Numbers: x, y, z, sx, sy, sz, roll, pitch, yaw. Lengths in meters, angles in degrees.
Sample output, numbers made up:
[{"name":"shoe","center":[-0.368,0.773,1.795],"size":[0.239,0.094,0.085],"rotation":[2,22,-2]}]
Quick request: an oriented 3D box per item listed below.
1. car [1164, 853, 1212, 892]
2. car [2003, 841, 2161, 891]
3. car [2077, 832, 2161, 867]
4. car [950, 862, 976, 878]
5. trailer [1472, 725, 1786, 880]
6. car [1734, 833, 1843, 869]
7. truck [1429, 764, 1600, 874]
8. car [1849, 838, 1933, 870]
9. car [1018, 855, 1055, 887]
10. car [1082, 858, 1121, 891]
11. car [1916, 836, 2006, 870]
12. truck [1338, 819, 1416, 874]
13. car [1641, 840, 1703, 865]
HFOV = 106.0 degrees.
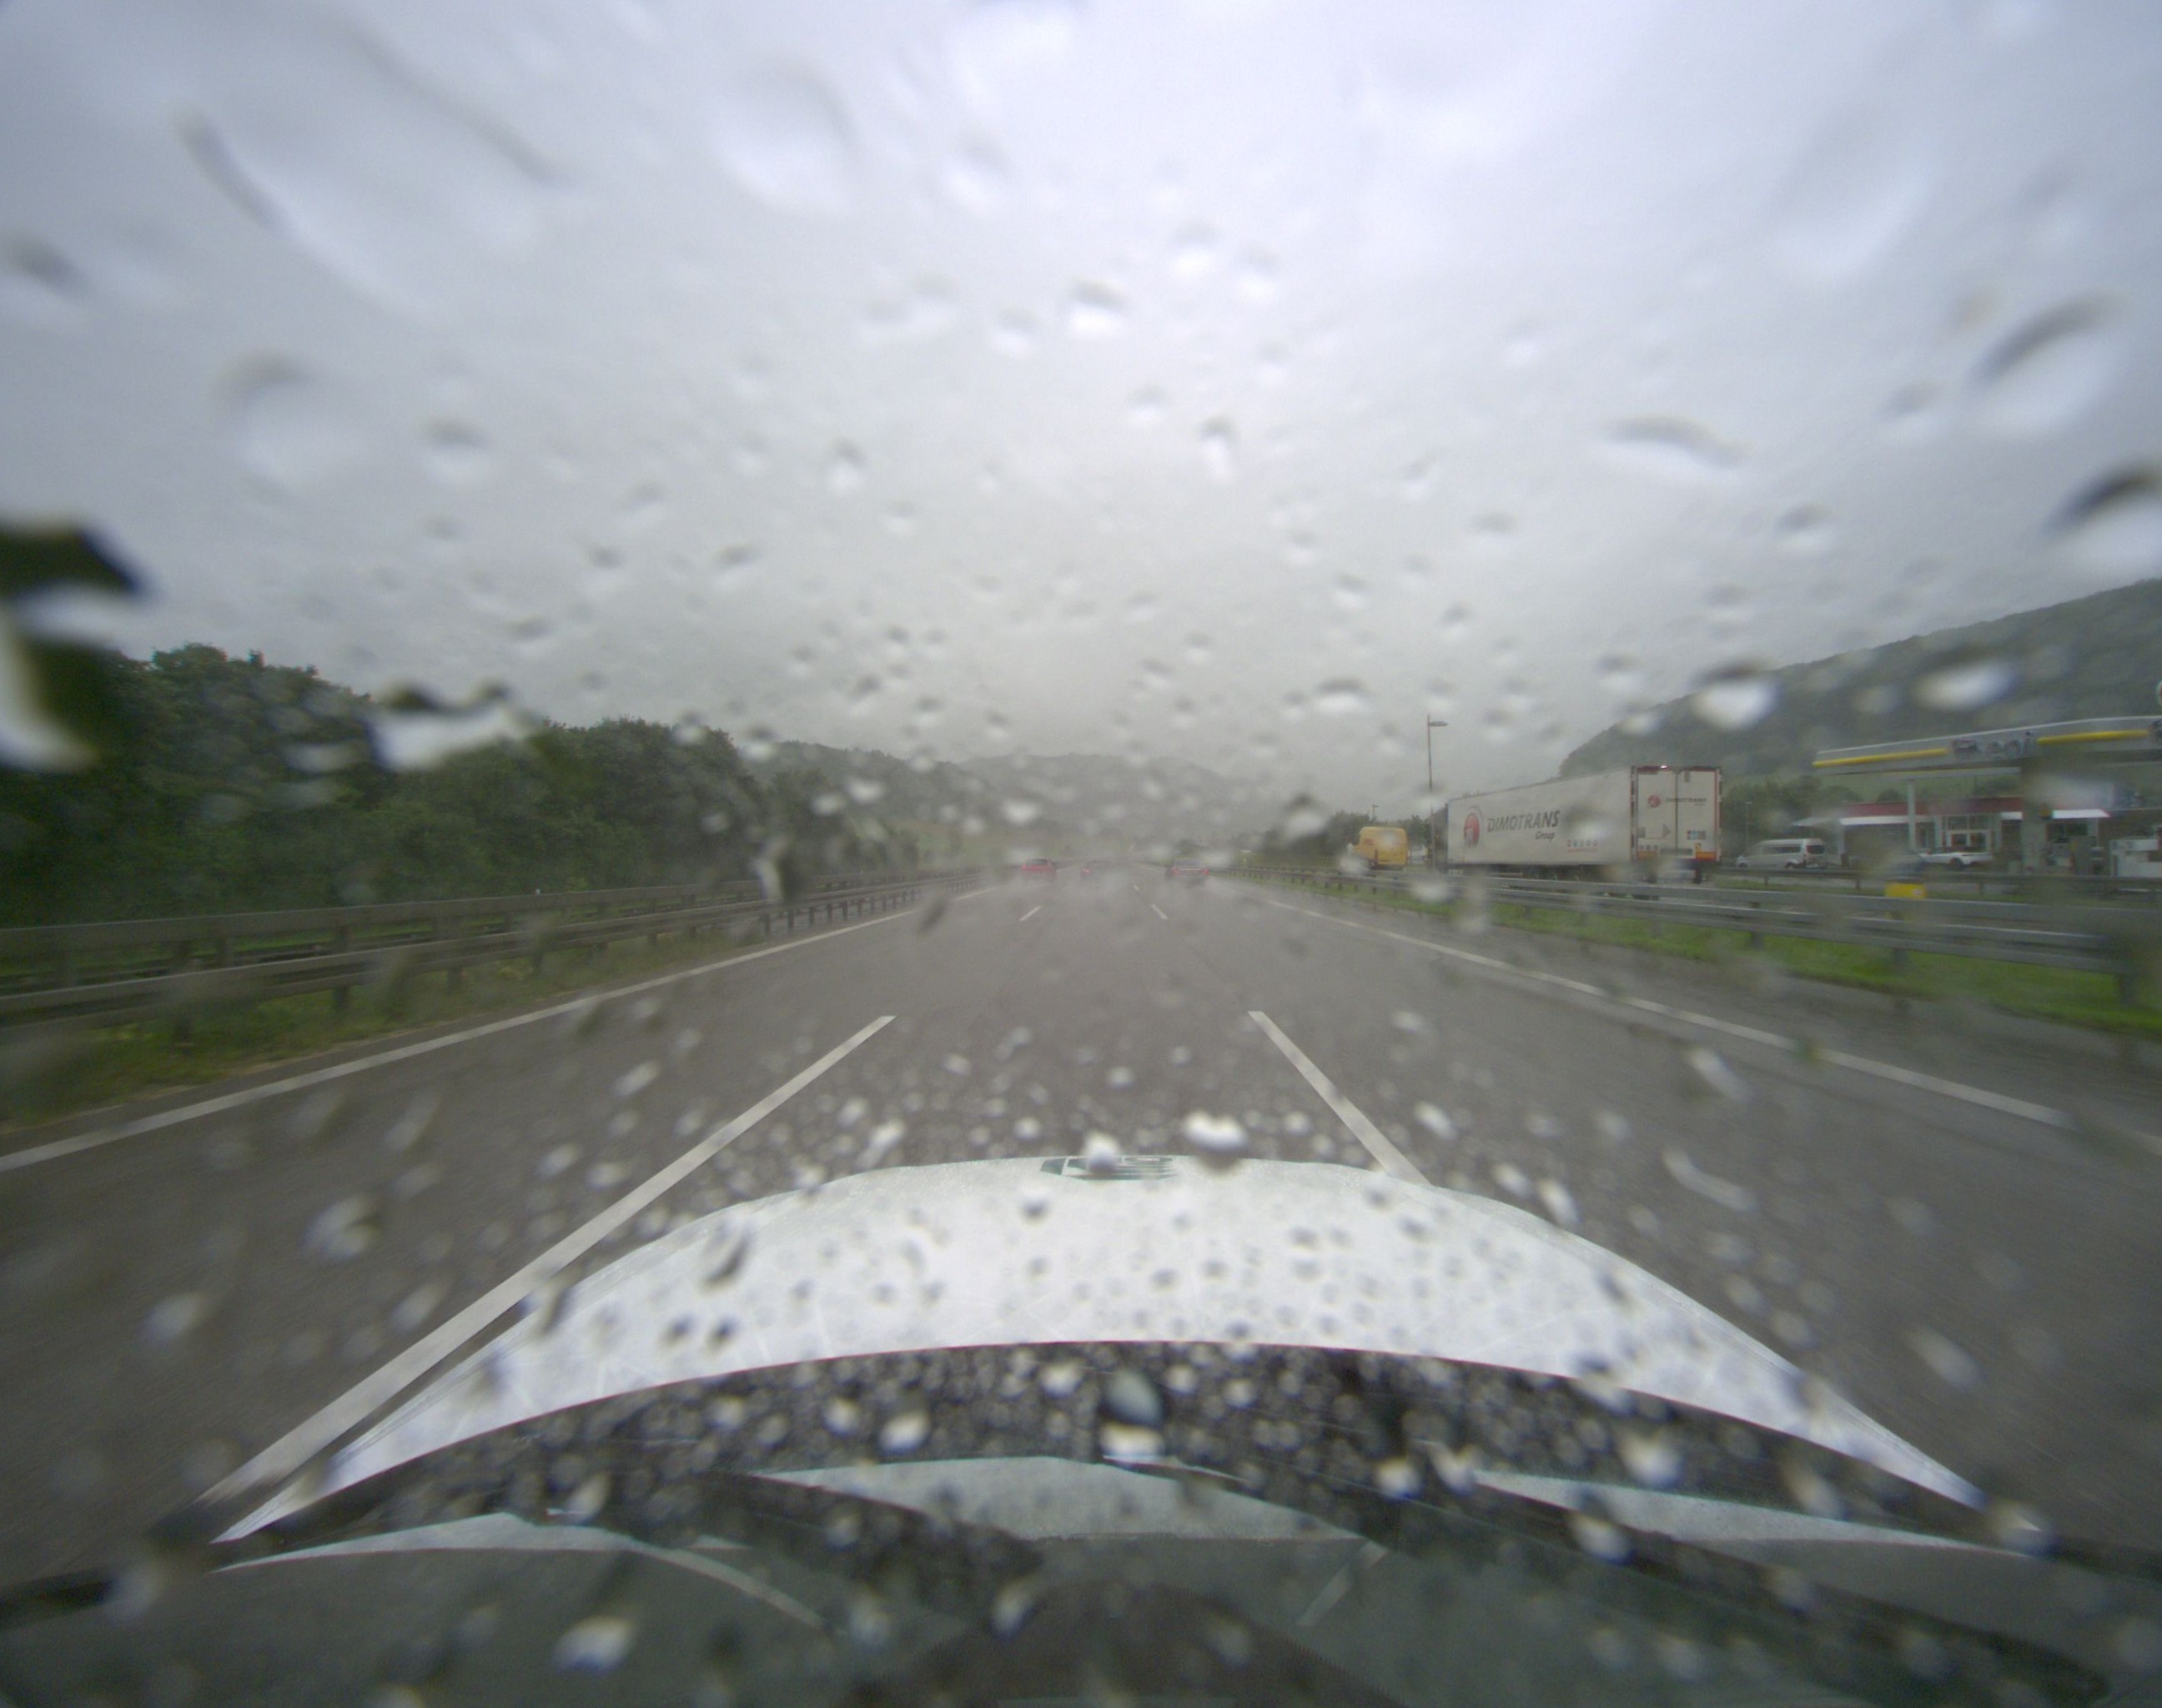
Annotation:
[{"name":"car","center":[5.200,0.845,40.047],"size":[1.964,1.760,4.002],"rotation":[-2,0,2]},{"name":"car","center":[43.889,0.507,35.463],"size":[1.986,2.014,4.903],"rotation":[0,0,2]},{"name":"car","center":[61.988,-0.232,47.818],"size":[1.995,2.014,3.984],"rotation":[1,0,-12]},{"name":"car","center":[-13.470,1.789,93.291],"size":[1.986,1.692,5.306],"rotation":[-2,0,2]},{"name":"trailer","center":[18.010,-1.374,28.504],"size":[3.502,4.261,11.929],"rotation":[0,0,3]},{"name":"car","center":[47.524,-0.145,54.914],"size":[1.996,2.308,5.427],"rotation":[0,-1,-13]},{"name":"truck","center":[18.342,-1.318,35.267],"size":[3.513,4.220,7.821],"rotation":[0,-1,2]},{"name":"car","center":[53.294,-0.014,53.706],"size":[1.982,2.014,4.010],"rotation":[0,0,9]},{"name":"car","center":[-2.663,0.976,49.403],"size":[1.878,1.816,4.001],"rotation":[-1,0,1]},{"name":"car","center":[1.066,0.982,40.940],"size":[1.852,1.589,4.002],"rotation":[0,0,2]},{"name":"car","center":[55.624,-0.047,51.562],"size":[1.779,2.014,4.010],"rotation":[0,0,9]},{"name":"truck","center":[18.641,-0.405,51.842],"size":[2.281,3.147,8.872],"rotation":[0,0,4]},{"name":"car","center":[49.690,-0.127,68.531],"size":[3.950,2.014,2.012],"rotation":[-1,-1,44]}]
